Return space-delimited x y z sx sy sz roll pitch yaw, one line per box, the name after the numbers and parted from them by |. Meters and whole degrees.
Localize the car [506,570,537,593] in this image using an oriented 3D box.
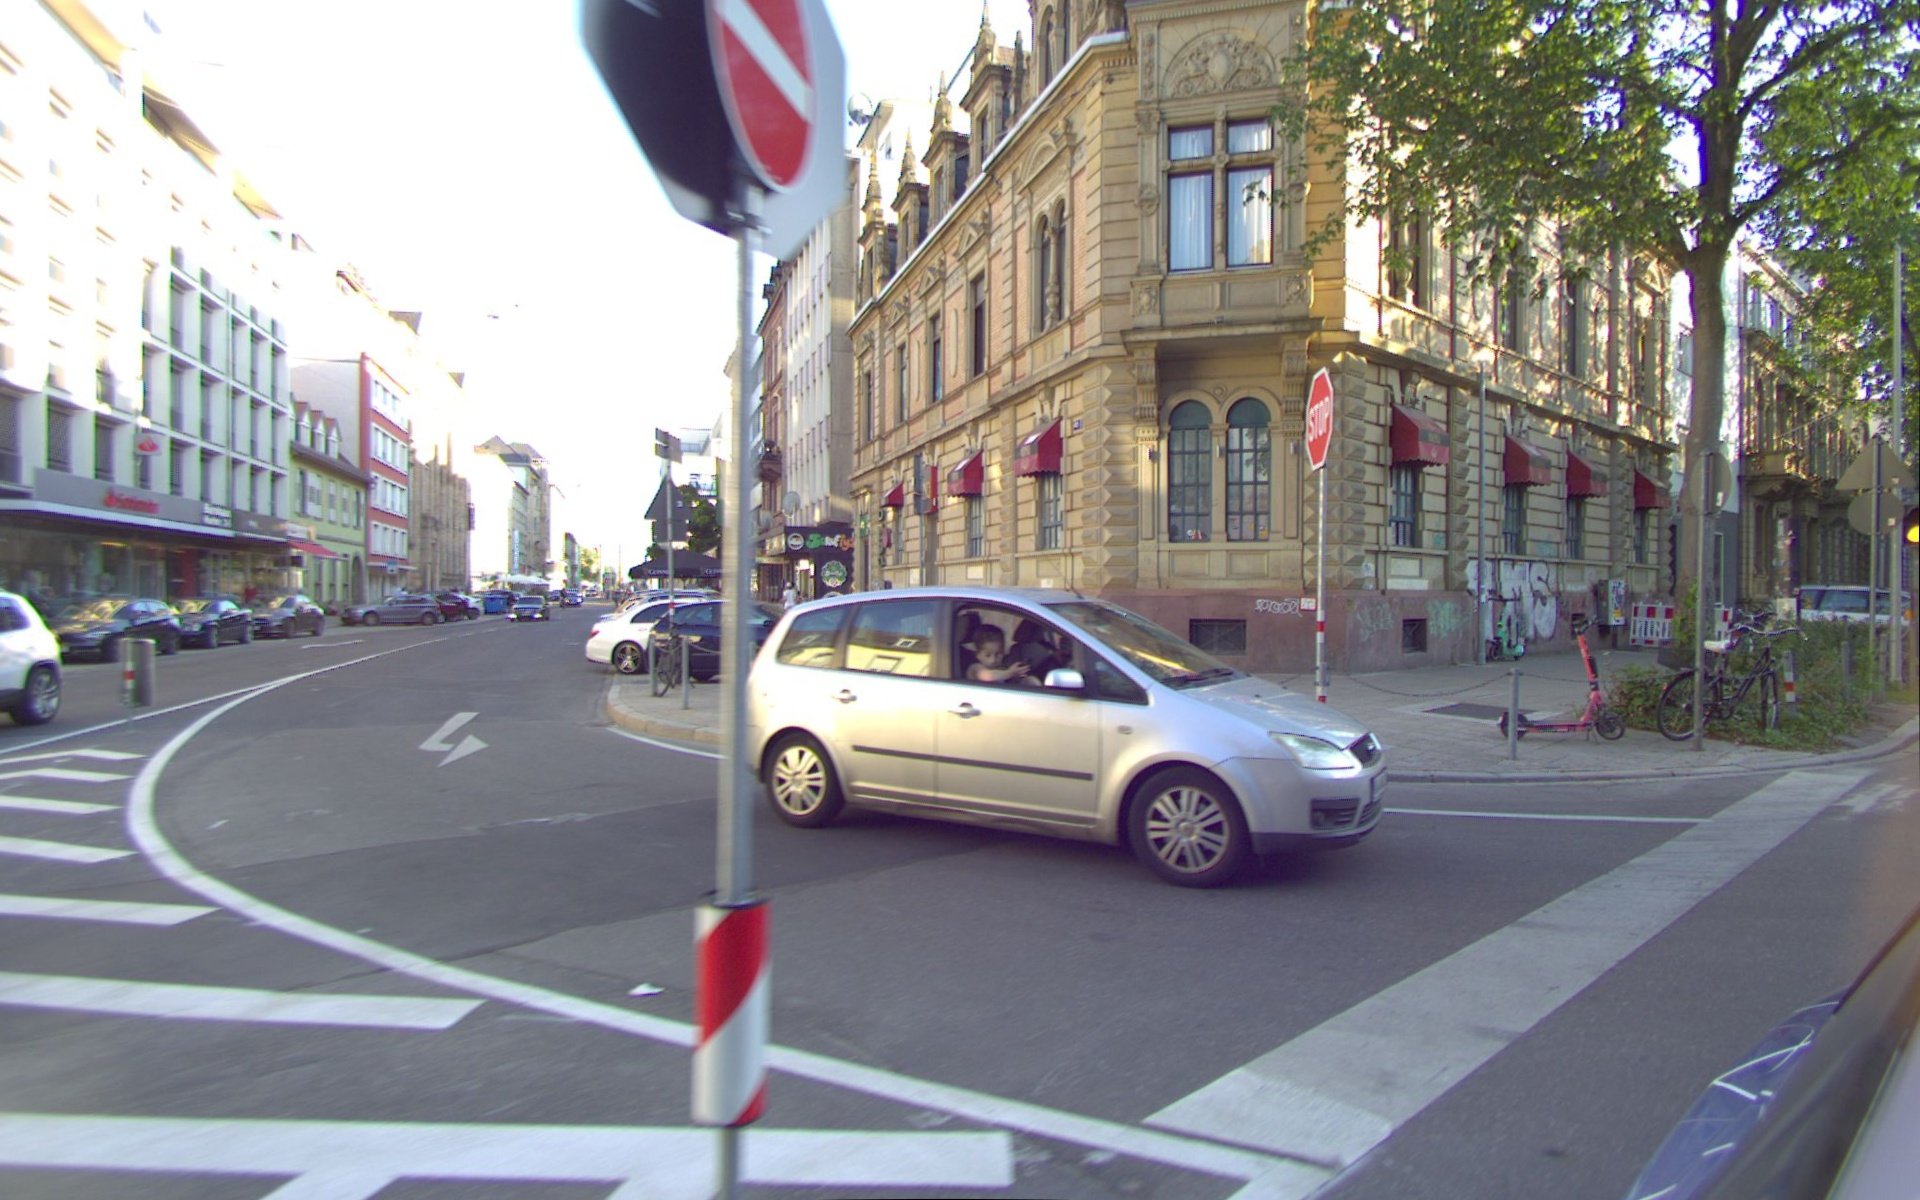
-40.113 -1.667 92.688 2.306 2.039 4.549 -1 0 -20 | car

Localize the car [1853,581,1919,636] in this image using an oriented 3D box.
28.772 0.275 29.174 1.934 1.580 4.237 0 1 -37 | car

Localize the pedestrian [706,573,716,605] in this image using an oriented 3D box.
-15.969 -0.682 64.975 0.553 2.039 0.588 -1 0 -13 | pedestrian

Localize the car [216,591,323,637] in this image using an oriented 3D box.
-22.970 0.423 33.833 1.738 1.386 4.192 0 1 -17 | car

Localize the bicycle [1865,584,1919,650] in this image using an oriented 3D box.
25.140 0.423 25.755 0.647 1.684 3.115 0 0 -44 | bicycle

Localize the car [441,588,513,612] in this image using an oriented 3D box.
-32.865 -0.013 68.954 1.770 1.543 4.116 1 2 45 | car

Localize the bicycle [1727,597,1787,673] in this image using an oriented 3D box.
13.290 0.544 16.854 0.523 1.167 2.213 0 1 45 | bicycle

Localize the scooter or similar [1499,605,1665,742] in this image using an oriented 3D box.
5.956 0.682 9.734 1.252 1.259 0.505 0 0 7 | scooter or similar

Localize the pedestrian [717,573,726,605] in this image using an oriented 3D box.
-15.517 -0.697 65.846 0.552 2.039 0.588 -1 0 -14 | pedestrian

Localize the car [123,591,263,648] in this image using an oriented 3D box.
-21.158 0.486 28.126 1.738 1.386 4.192 0 1 -17 | car

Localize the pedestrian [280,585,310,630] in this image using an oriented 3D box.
-30.873 0.333 47.004 0.891 2.039 1.104 -1 0 -18 | pedestrian

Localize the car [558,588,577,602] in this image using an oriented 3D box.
-41.015 -0.511 105.752 1.707 1.390 4.008 -1 0 -20 | car

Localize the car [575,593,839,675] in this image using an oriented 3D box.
-5.141 0.639 20.792 4.914 1.476 1.980 1 1 13 | car

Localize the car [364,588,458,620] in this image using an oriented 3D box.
-28.422 0.183 52.404 4.104 1.543 1.776 -1 1 -35 | car

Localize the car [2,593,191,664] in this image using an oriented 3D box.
-19.571 0.573 23.176 1.738 1.386 4.192 0 1 -17 | car

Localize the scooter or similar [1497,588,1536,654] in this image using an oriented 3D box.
10.390 0.387 18.881 1.073 1.209 0.251 1 0 -40 | scooter or similar

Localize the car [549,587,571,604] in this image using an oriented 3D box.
-35.138 -0.387 88.891 1.707 1.390 4.008 -1 0 -20 | car

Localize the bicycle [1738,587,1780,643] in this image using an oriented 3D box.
18.239 0.320 23.086 1.694 1.250 0.386 0 1 -39 | bicycle

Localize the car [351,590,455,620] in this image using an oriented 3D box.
-27.159 0.238 49.446 1.769 1.387 4.119 1 0 42 | car

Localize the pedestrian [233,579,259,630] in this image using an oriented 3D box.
-28.624 0.180 40.576 0.665 2.039 0.621 0 0 -17 | pedestrian

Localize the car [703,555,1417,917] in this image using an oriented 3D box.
0.533 0.605 6.635 4.319 1.674 1.865 0 1 32 | car

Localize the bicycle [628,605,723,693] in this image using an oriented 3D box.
-4.146 0.687 14.913 0.812 1.149 1.833 -1 1 2 | bicycle

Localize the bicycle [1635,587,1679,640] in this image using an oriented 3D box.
16.833 0.313 24.428 1.694 1.226 0.386 0 1 -39 | bicycle

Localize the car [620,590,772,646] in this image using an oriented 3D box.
-7.902 0.509 30.470 4.072 1.559 1.775 1 1 10 | car

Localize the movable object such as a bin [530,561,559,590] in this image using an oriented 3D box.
-45.041 -2.619 109.790 2.306 2.993 5.585 -1 0 -17 | movable object such as a bin

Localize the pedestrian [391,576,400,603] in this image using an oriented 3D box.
-36.250 -0.658 65.015 0.418 1.728 0.499 1 -1 -27 | pedestrian

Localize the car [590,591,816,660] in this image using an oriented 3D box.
-6.066 0.571 24.078 4.897 1.476 1.869 1 -1 11 | car

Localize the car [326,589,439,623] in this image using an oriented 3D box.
-26.196 0.237 46.044 1.763 1.386 4.133 1 1 34 | car

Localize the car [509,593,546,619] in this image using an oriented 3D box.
-24.181 0.338 56.658 1.707 1.390 4.008 -1 0 -20 | car

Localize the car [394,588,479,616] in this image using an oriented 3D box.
-29.723 0.082 57.508 4.104 1.543 1.776 -1 1 -35 | car

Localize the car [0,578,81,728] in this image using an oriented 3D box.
-11.463 0.615 10.600 1.856 1.676 4.213 -1 1 -17 | car

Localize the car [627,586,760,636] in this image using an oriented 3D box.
-8.851 0.356 33.841 4.056 1.580 1.782 1 1 -5 | car

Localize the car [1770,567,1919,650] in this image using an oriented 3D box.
22.809 0.189 24.653 1.917 1.938 4.547 0 2 -42 | car

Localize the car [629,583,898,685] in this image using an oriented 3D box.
-3.344 0.560 17.602 4.207 1.430 1.709 -4 0 7 | car

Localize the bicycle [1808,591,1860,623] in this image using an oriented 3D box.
20.470 0.155 23.692 2.289 0.673 0.582 -1 0 -41 | bicycle

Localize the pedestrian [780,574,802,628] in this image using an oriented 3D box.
-5.625 0.029 33.667 0.621 1.785 0.737 0 0 -19 | pedestrian

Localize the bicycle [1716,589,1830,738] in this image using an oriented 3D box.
7.990 0.589 9.939 1.262 1.389 0.418 0 1 -29 | bicycle

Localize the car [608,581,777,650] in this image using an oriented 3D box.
-7.229 0.389 27.477 4.072 1.747 1.775 1 1 10 | car
